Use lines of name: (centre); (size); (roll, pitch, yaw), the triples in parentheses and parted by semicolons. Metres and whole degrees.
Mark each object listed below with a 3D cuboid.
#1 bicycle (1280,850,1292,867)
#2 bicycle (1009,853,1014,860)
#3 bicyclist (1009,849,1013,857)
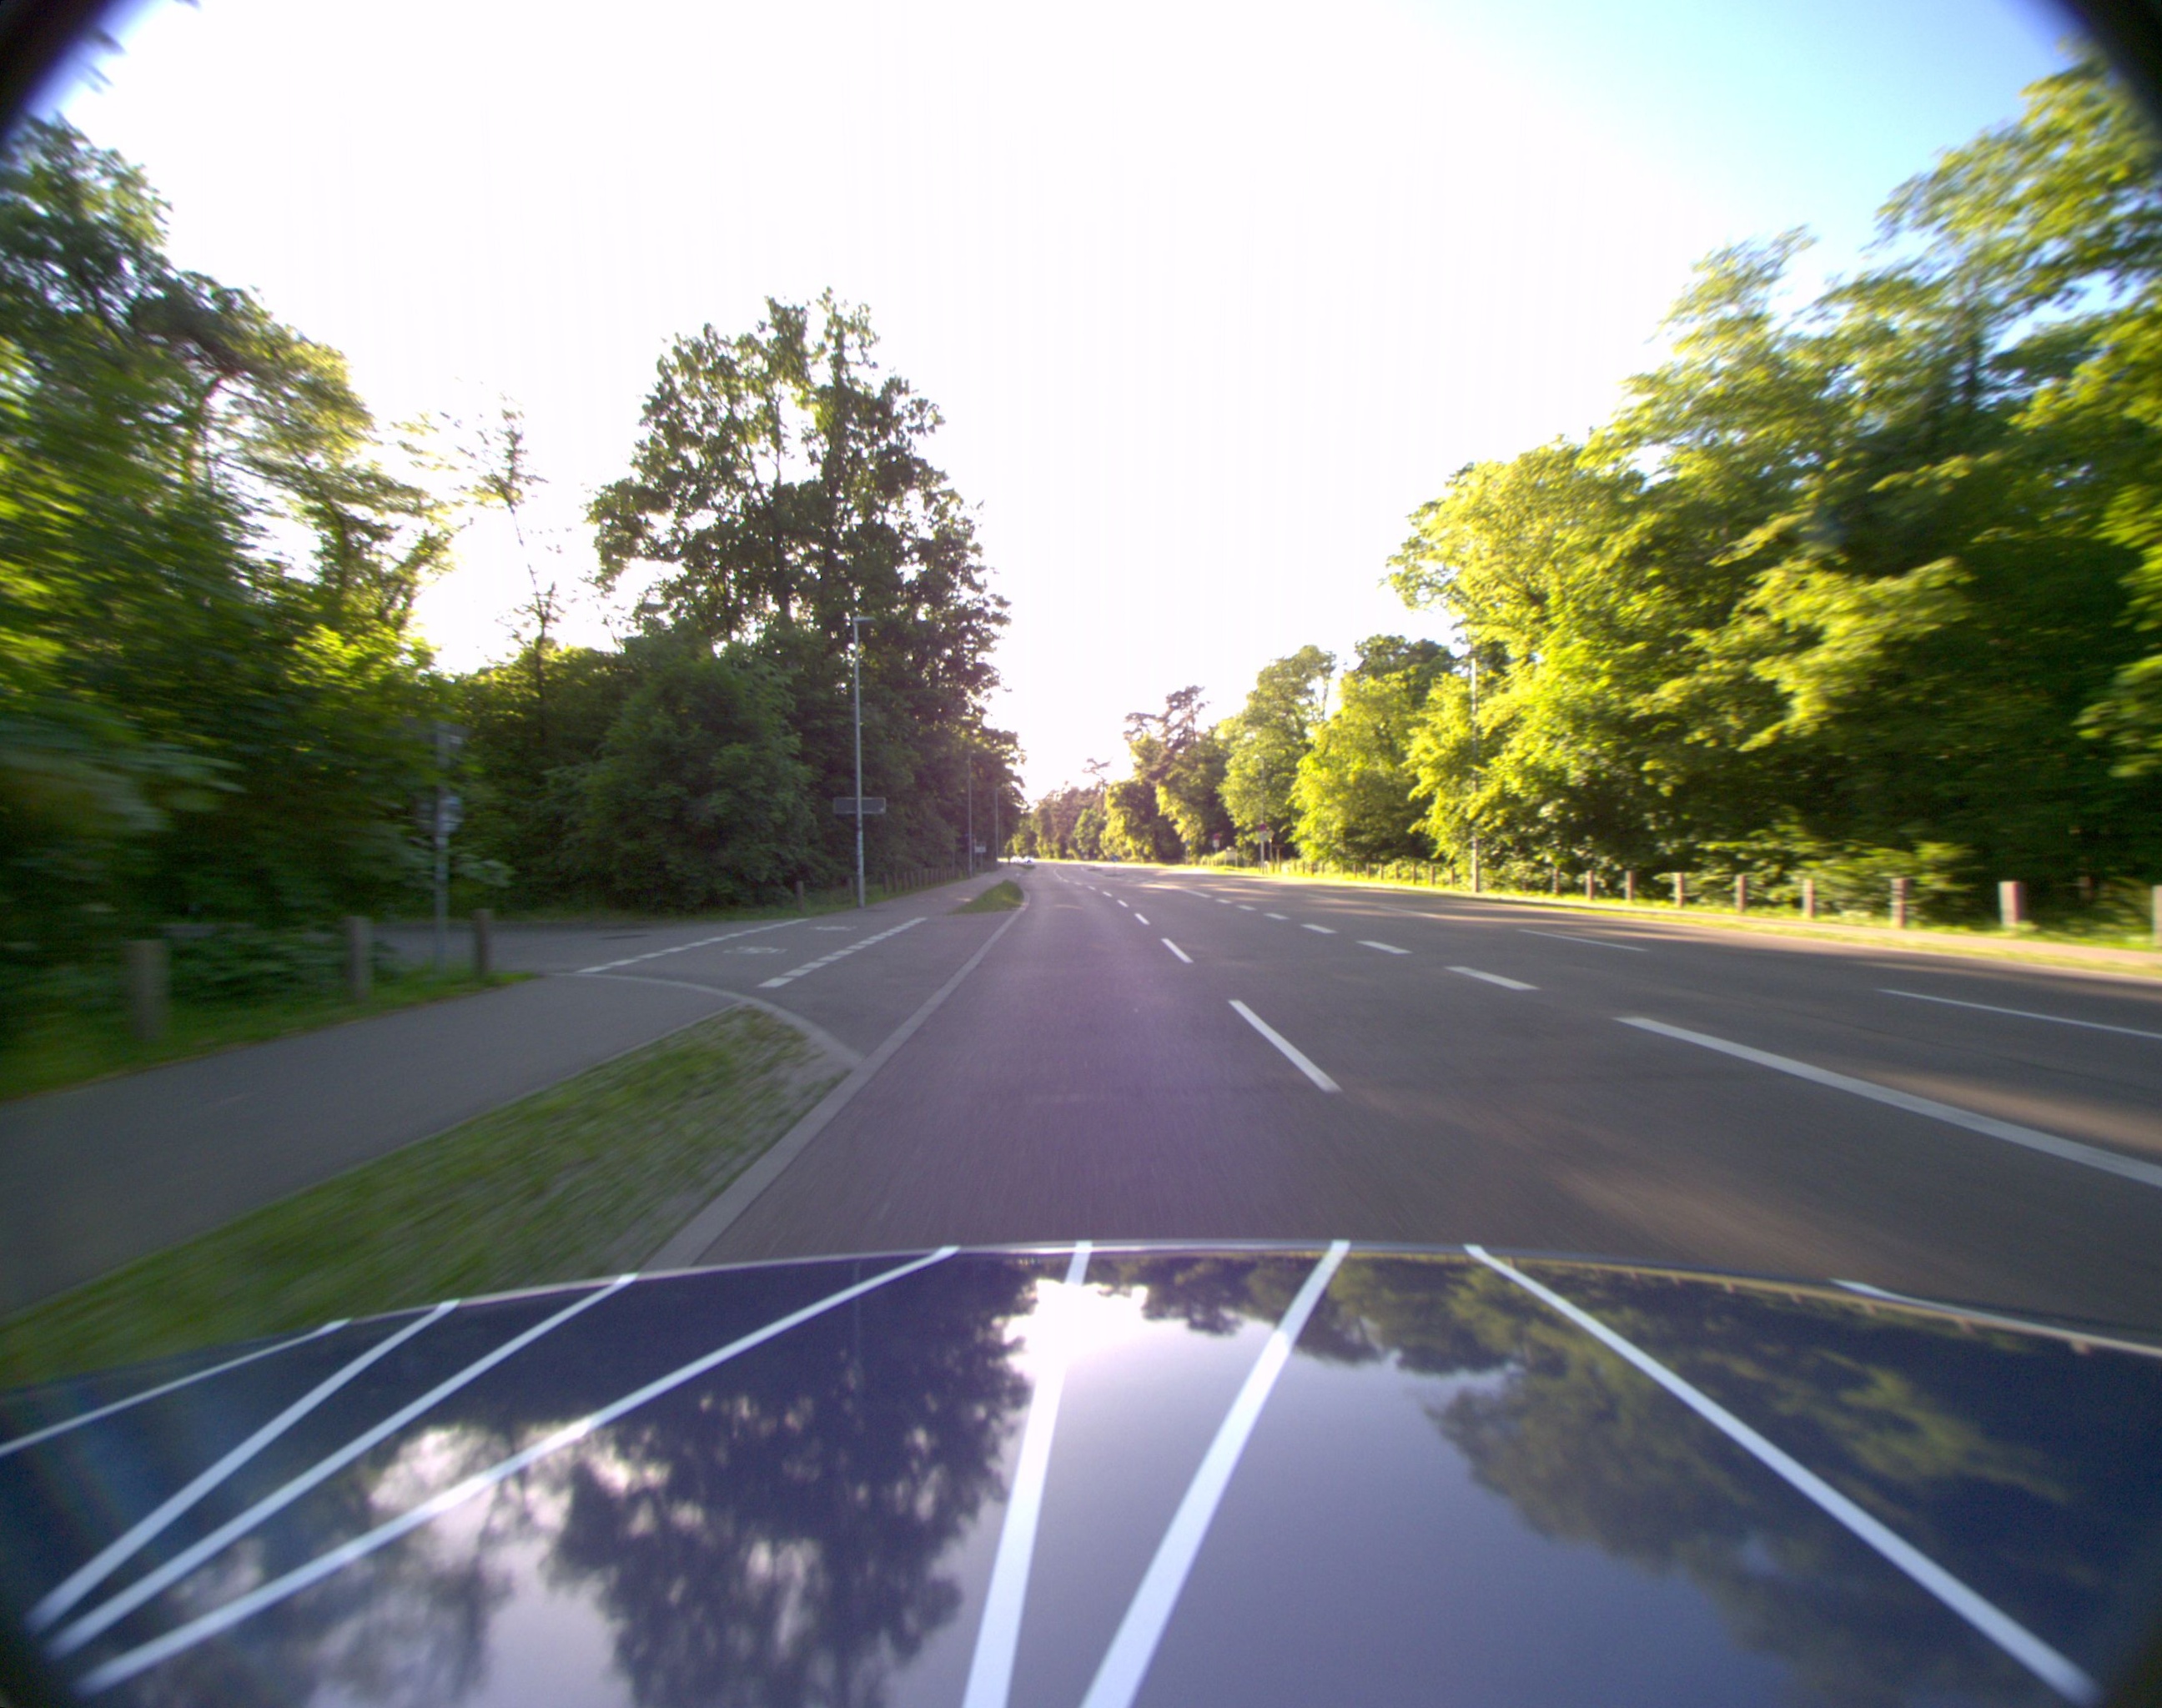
bicycle: (13.992, 0.293, 51.856); (0.402, 1.125, 2.220); (-3, 1, 7)
bicycle: (-11.124, 0.444, 121.476); (0.608, 1.051, 2.872); (-2, 1, -8)
bicyclist: (-11.150, -0.192, 121.478); (0.514, 1.260, 0.497); (-2, 1, -8)
